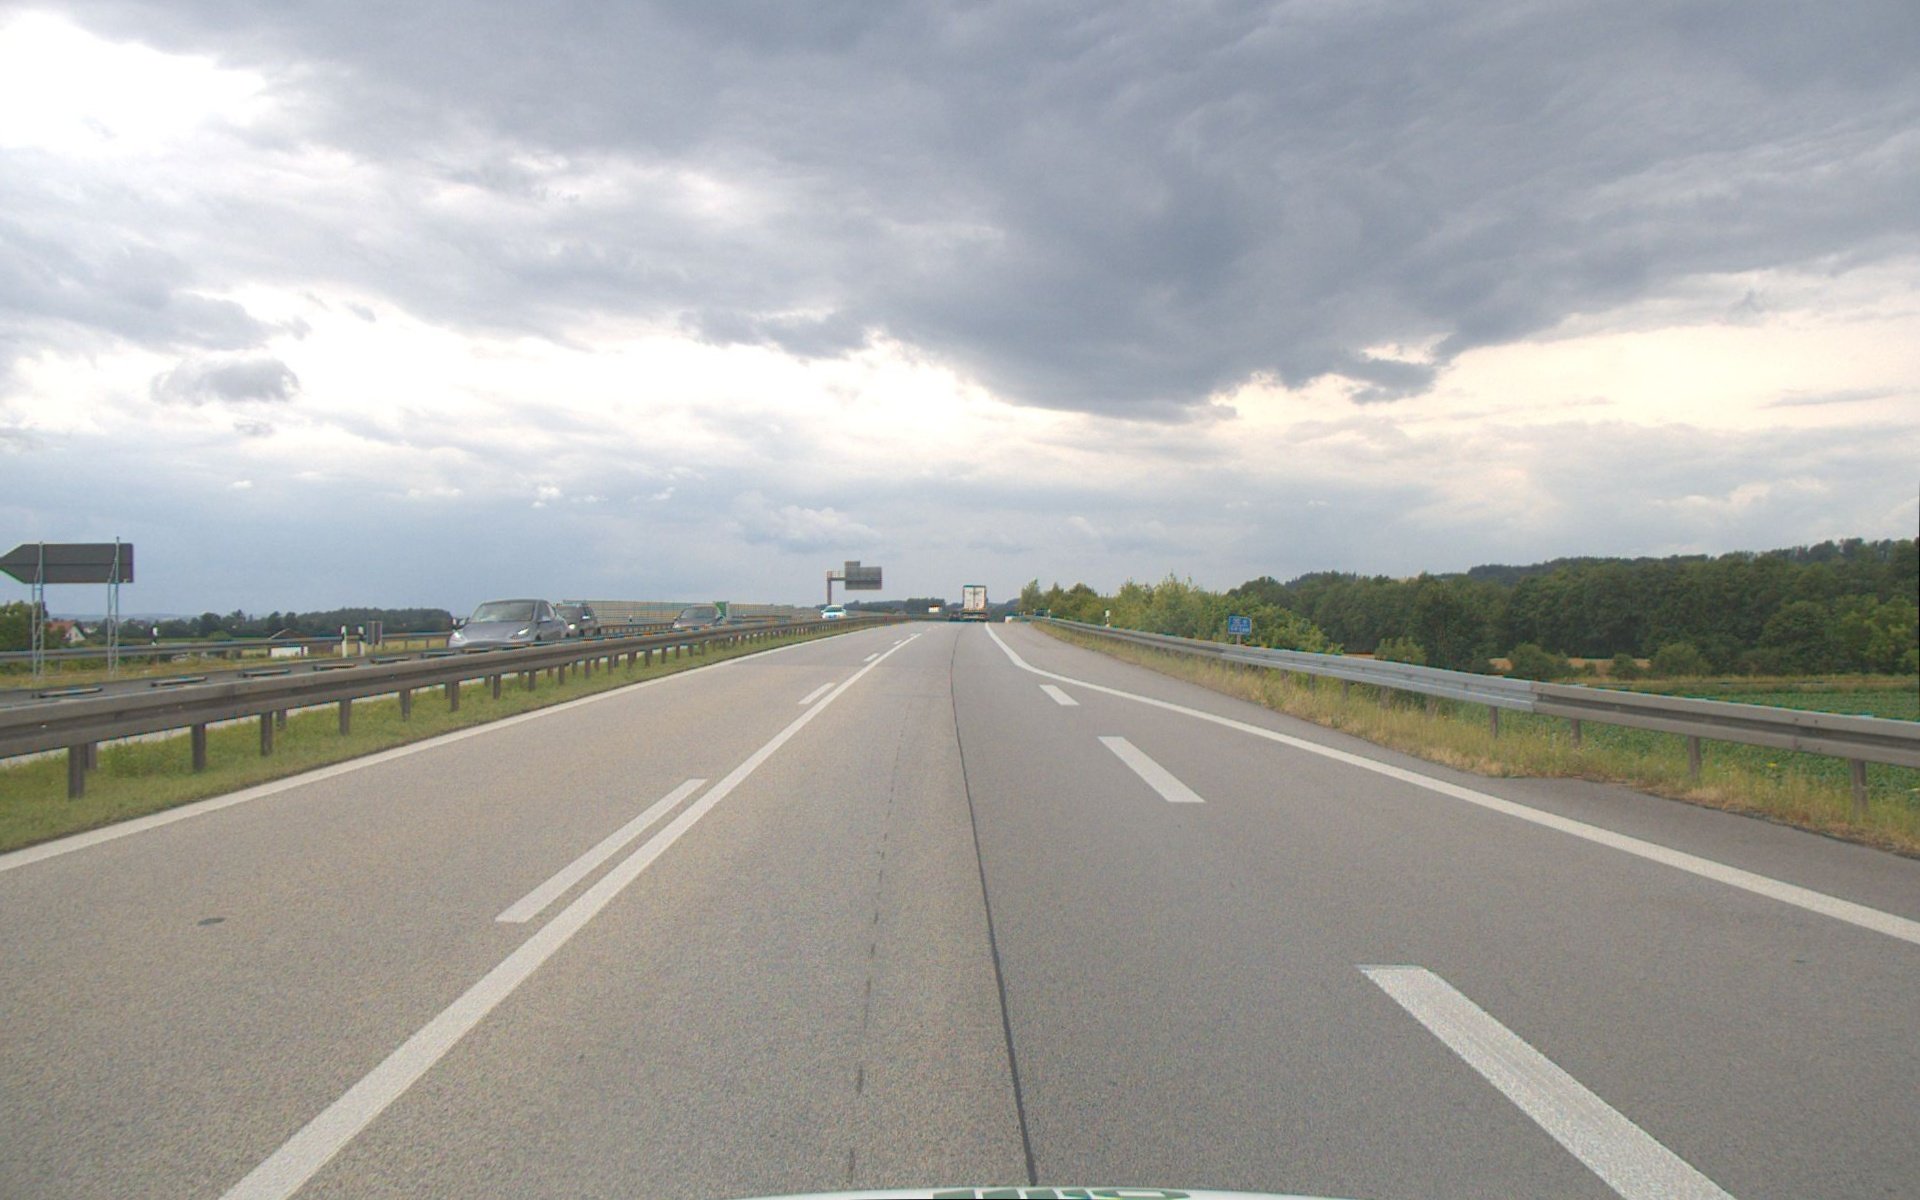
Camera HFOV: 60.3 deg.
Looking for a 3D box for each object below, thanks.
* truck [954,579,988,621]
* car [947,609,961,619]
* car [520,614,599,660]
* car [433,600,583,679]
[{"bbox_3d":[1.399,0.116,195.374,3.596,4.490,16.341,0,-1,1],"label":"truck"},{"bbox_3d":[-0.899,2.065,249.058,1.953,1.445,3.999,1,0,-1],"label":"car"},{"bbox_3d":[-13.751,1.236,56.990,1.763,1.417,4.000,1,1,-1],"label":"car"},{"bbox_3d":[-10.165,0.828,37.604,2.092,1.616,4.998,-1,0,-1],"label":"car"}]
